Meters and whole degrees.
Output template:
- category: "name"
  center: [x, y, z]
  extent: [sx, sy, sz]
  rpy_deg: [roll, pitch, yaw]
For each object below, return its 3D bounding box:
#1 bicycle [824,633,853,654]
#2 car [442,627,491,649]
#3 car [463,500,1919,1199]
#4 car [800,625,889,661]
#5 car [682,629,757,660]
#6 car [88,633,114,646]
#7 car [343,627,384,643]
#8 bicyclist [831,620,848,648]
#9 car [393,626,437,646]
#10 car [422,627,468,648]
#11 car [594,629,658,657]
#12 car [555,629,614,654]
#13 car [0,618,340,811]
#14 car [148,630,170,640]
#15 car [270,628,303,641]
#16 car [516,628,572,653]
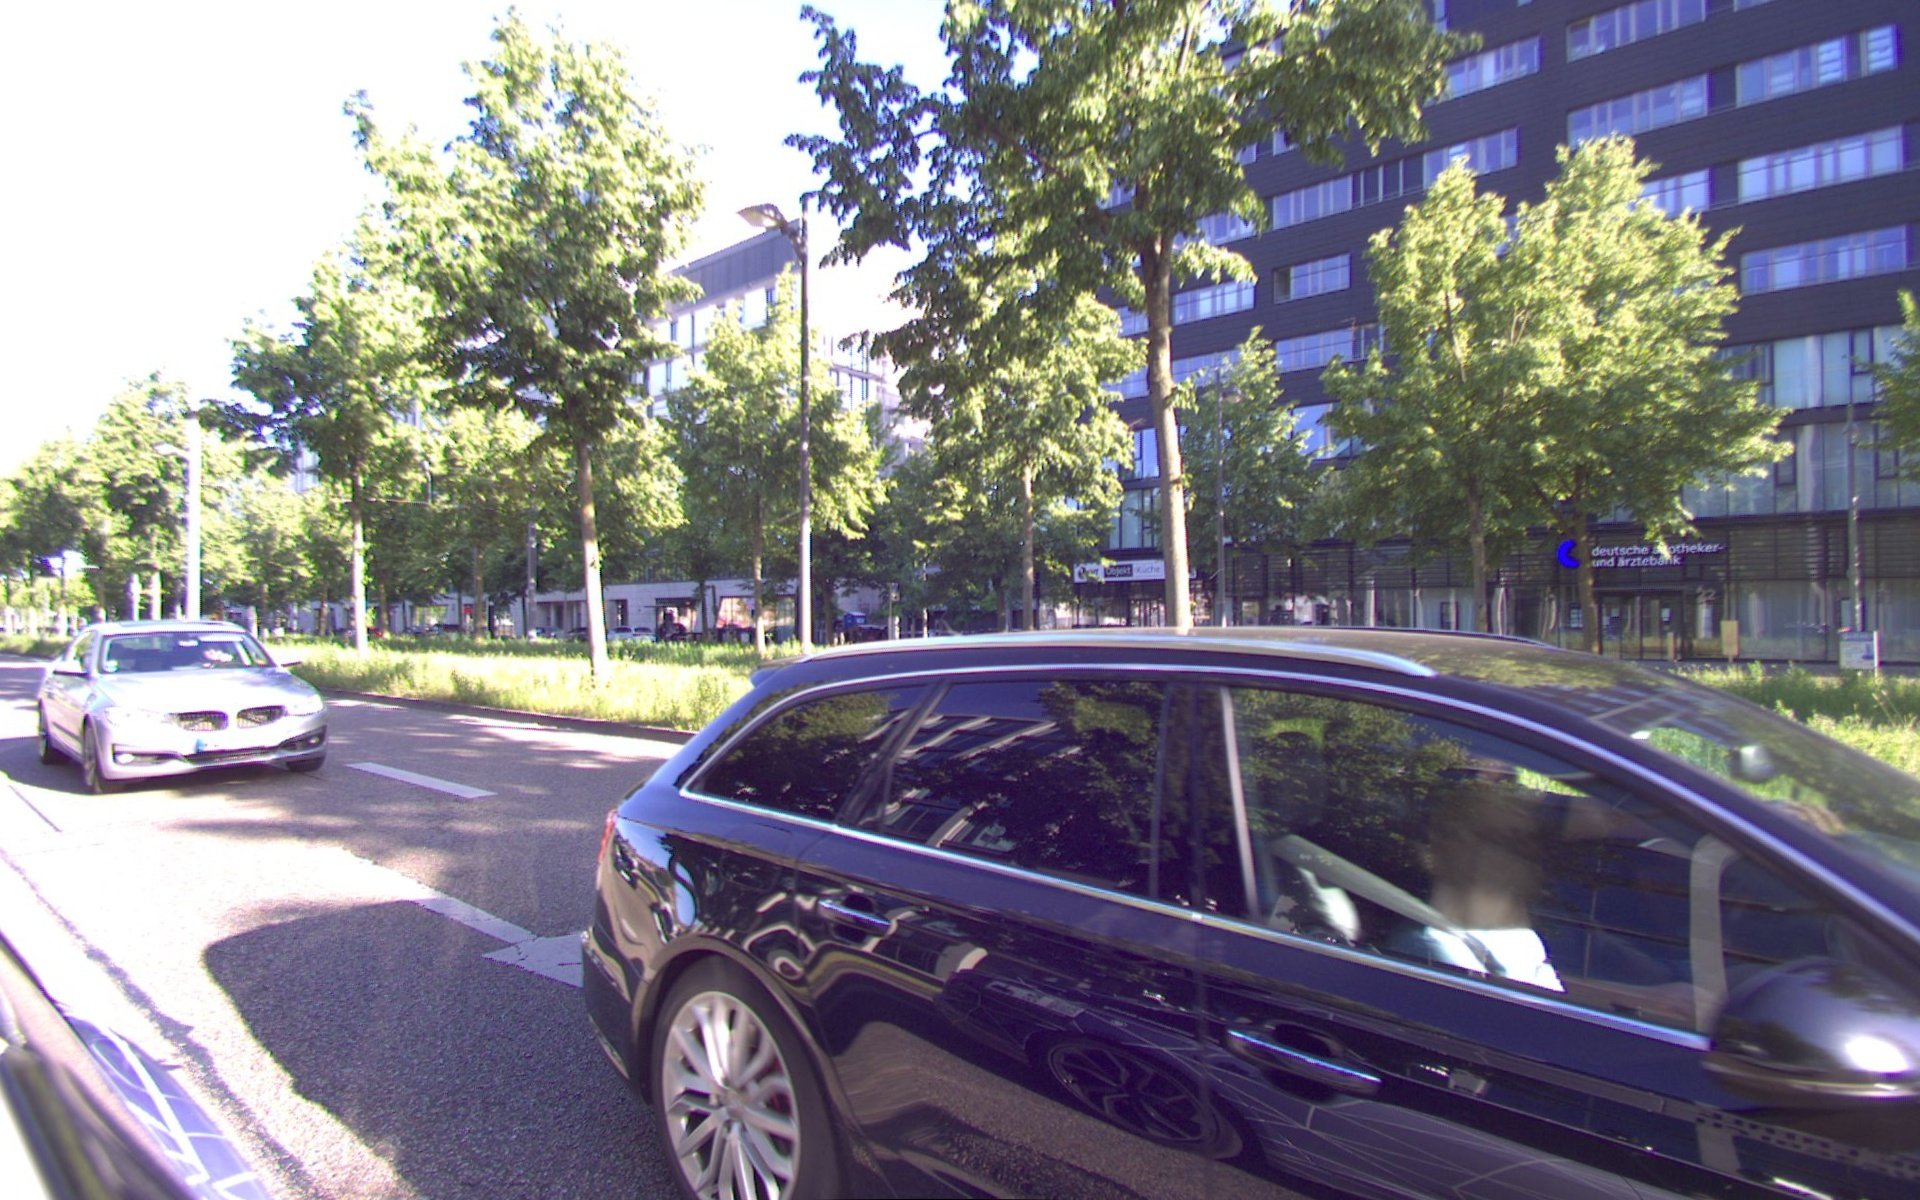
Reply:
- category: "bicycle"
  center: [-6.409, 2.295, 53.522]
  extent: [1.755, 1.043, 0.472]
  rpy_deg: [-2, -2, 41]
- category: "car"
  center: [-37.482, 2.893, 76.869]
  extent: [4.181, 1.610, 1.859]
  rpy_deg: [-2, -2, 41]
- category: "car"
  center: [1.082, 0.677, 1.977]
  extent: [4.963, 1.496, 1.855]
  rpy_deg: [-1, -2, 40]
- category: "car"
  center: [-5.566, 2.032, 48.306]
  extent: [4.181, 1.610, 1.926]
  rpy_deg: [-2, -2, 41]
- category: "car"
  center: [-13.085, 2.371, 54.941]
  extent: [4.181, 1.610, 1.926]
  rpy_deg: [-2, -2, 41]
- category: "car"
  center: [-109.081, 4.993, 128.489]
  extent: [3.998, 1.694, 1.870]
  rpy_deg: [-2, -2, 41]
- category: "car"
  center: [-54.475, 3.211, 92.447]
  extent: [3.995, 1.406, 1.974]
  rpy_deg: [-2, -2, 39]
- category: "bicyclist"
  center: [-6.393, 1.802, 53.510]
  extent: [0.820, 1.435, 0.472]
  rpy_deg: [-2, -2, 41]
- category: "car"
  center: [-45.403, 3.009, 84.268]
  extent: [4.181, 1.610, 1.859]
  rpy_deg: [-2, -2, 41]
- category: "car"
  center: [-40.946, 2.941, 80.374]
  extent: [4.181, 1.610, 1.859]
  rpy_deg: [-2, -2, 41]
- category: "car"
  center: [-20.530, 2.631, 62.180]
  extent: [4.181, 1.610, 1.859]
  rpy_deg: [-2, -2, 41]
- category: "car"
  center: [-24.506, 2.688, 65.957]
  extent: [4.181, 1.610, 1.859]
  rpy_deg: [-2, -2, 41]
- category: "car"
  center: [-7.967, 0.937, 10.007]
  extent: [4.558, 1.496, 1.800]
  rpy_deg: [-1, -2, 40]
- category: "car"
  center: [-113.477, 4.950, 143.346]
  extent: [4.001, 1.406, 1.971]
  rpy_deg: [-2, -2, 44]
- category: "car"
  center: [-71.609, 3.646, 107.652]
  extent: [3.998, 1.406, 1.972]
  rpy_deg: [-2, -2, 41]
- category: "car"
  center: [-28.537, 2.752, 69.367]
  extent: [4.181, 1.610, 1.859]
  rpy_deg: [-2, -2, 41]
